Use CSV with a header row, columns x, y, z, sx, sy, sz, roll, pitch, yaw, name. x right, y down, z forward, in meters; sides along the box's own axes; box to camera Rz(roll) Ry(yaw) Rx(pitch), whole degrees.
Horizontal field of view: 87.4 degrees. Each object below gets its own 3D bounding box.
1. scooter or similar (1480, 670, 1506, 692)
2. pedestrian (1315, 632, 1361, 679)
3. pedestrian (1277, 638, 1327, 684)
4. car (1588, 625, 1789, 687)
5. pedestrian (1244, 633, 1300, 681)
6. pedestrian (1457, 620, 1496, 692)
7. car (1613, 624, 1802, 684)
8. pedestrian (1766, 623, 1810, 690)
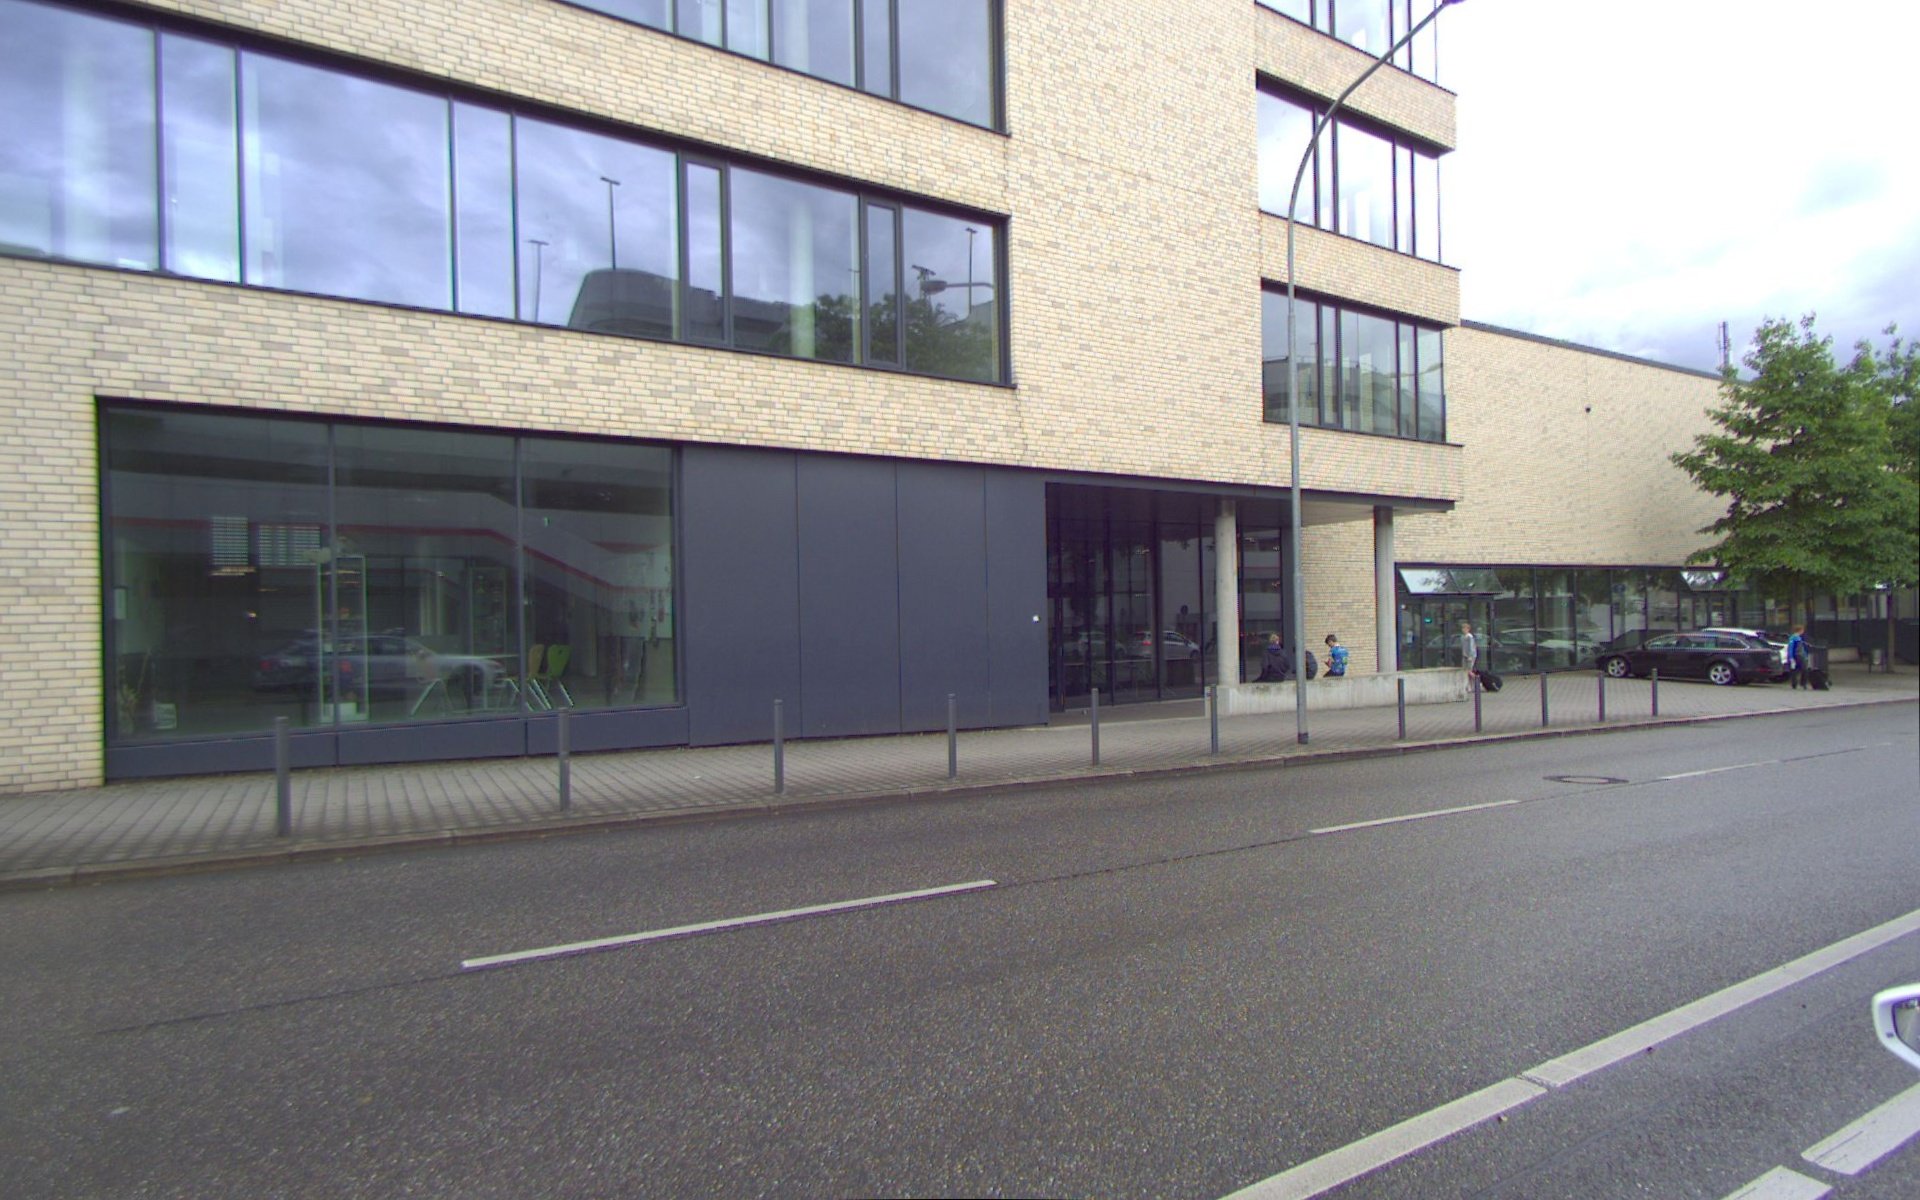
x,y,z,sx,sy,sz,roll,pitch,yaw,name
13.295,2.021,25.054,0.609,0.507,0.278,2,0,-31,scooter or similar
7.553,1.098,20.070,0.519,0.897,0.676,2,0,-36,pedestrian
6.638,1.181,19.480,0.719,0.856,0.583,2,-1,-30,pedestrian
21.387,1.582,29.653,1.981,1.608,4.437,1,-1,-36,car
5.900,1.076,18.973,0.752,0.796,0.595,9,-4,-30,pedestrian
12.771,1.378,24.825,0.473,1.720,0.672,1,0,-30,pedestrian
23.396,1.633,31.593,1.980,1.595,4.388,-1,1,-35,car
22.423,1.520,27.204,0.745,1.748,0.685,0,1,-31,pedestrian
